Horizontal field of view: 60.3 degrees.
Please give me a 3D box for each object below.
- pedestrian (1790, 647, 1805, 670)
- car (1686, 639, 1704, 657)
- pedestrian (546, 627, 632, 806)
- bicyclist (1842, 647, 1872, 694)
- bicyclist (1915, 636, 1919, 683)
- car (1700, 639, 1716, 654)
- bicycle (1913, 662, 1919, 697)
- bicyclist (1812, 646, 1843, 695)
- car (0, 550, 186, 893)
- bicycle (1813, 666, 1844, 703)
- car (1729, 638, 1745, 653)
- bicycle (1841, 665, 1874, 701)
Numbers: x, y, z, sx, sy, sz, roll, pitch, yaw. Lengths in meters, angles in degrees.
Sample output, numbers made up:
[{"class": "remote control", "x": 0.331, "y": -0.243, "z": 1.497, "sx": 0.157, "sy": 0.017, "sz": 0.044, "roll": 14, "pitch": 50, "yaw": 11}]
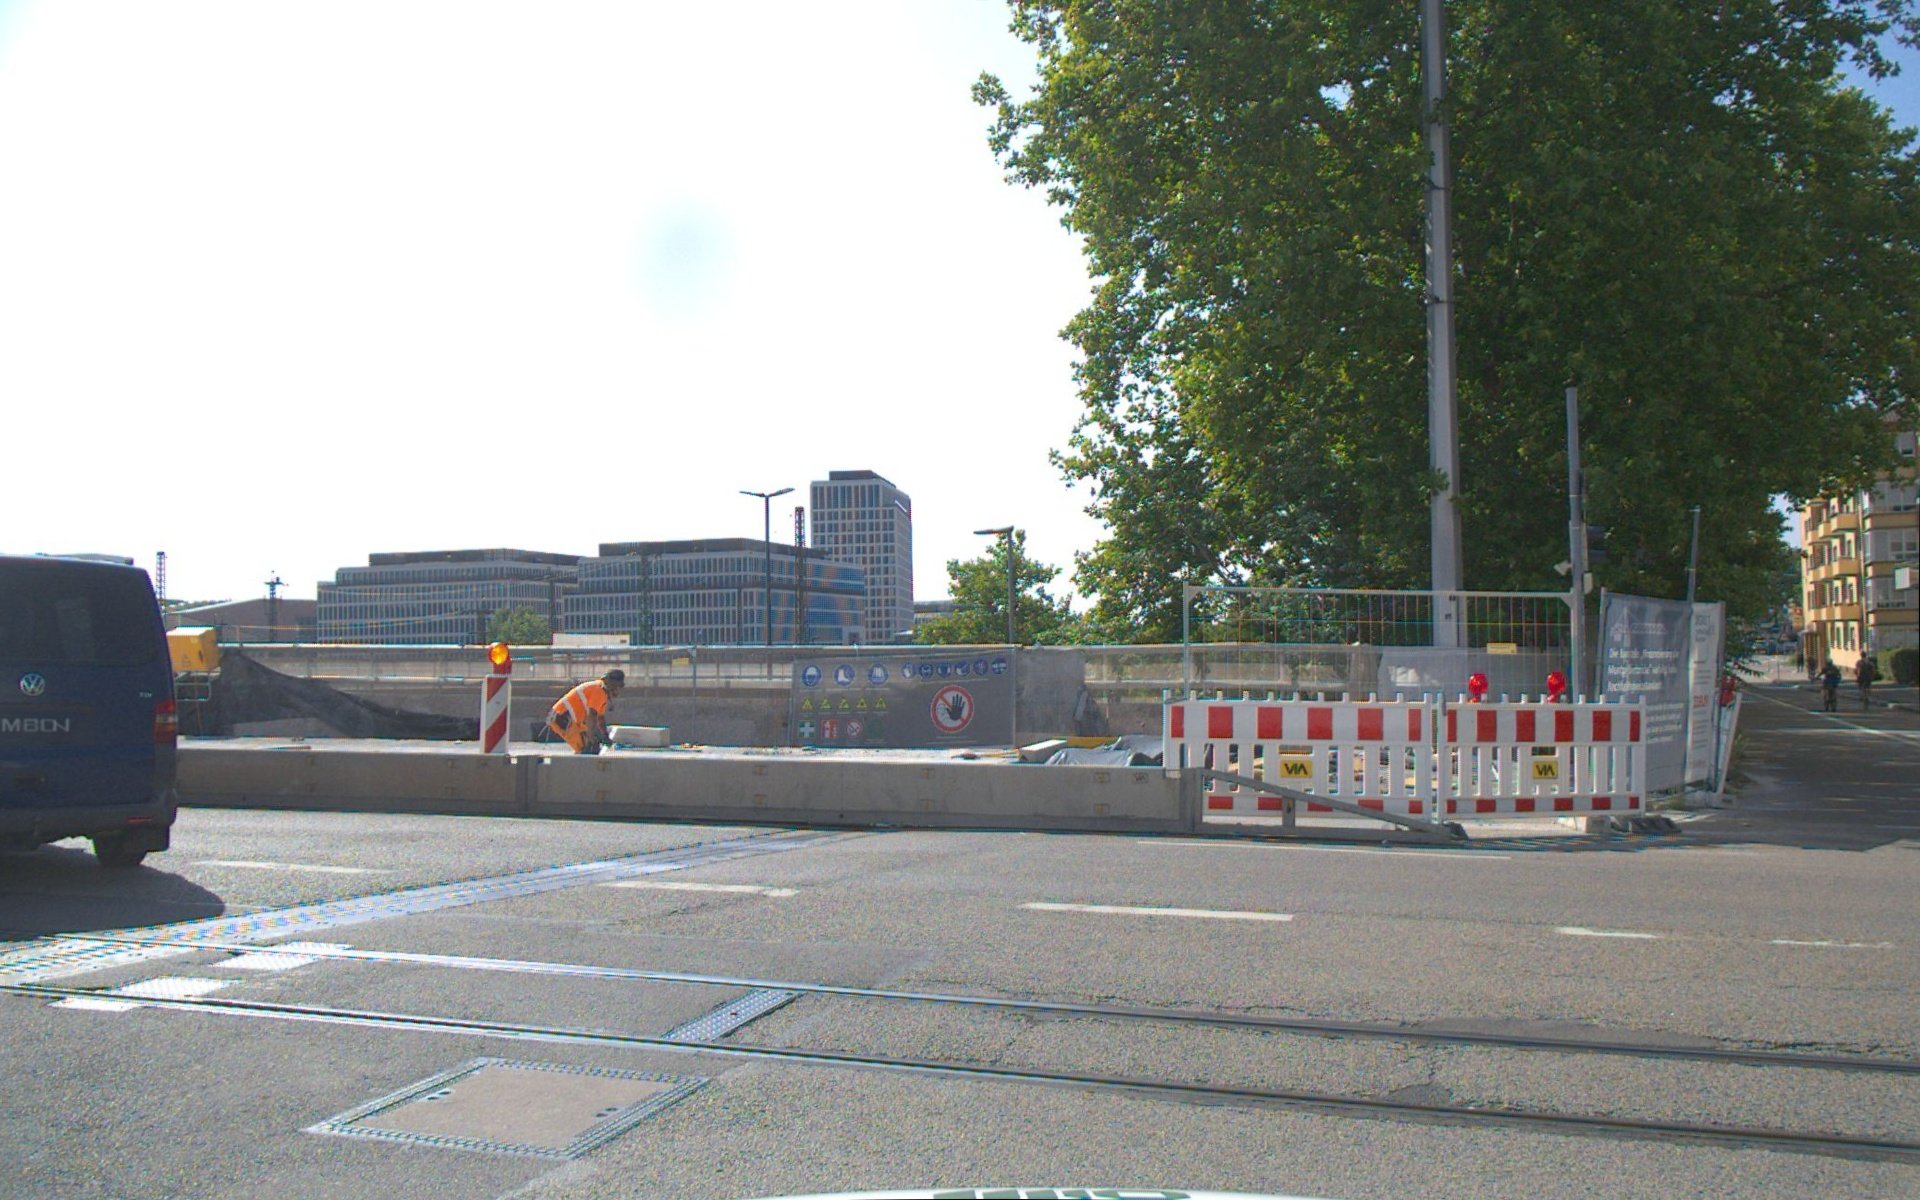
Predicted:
[{"class": "pedestrian", "x": 69.693, "y": 4.872, "z": 137.633, "sx": 1.002, "sy": 1.970, "sz": 0.838, "roll": -1, "pitch": -2, "yaw": 32}, {"class": "car", "x": 74.020, "y": 4.822, "z": 166.561, "sx": 1.593, "sy": 1.651, "sz": 3.694, "roll": -1, "pitch": 0, "yaw": 23}, {"class": "pedestrian", "x": -3.961, "y": 1.216, "z": 17.673, "sx": 0.846, "sy": 1.826, "sz": 0.819, "roll": -1, "pitch": 0, "yaw": -13}, {"class": "bicyclist", "x": 29.871, "y": 2.333, "z": 55.081, "sx": 0.821, "sy": 1.564, "sz": 1.022, "roll": -1, "pitch": -2, "yaw": 26}, {"class": "bicyclist", "x": 32.551, "y": 1.988, "z": 55.469, "sx": 0.821, "sy": 1.564, "sz": 1.022, "roll": -1, "pitch": -2, "yaw": 26}, {"class": "car", "x": 90.586, "y": 5.646, "z": 200.305, "sx": 1.593, "sy": 1.651, "sz": 3.694, "roll": -1, "pitch": 0, "yaw": 23}, {"class": "bicycle", "x": 32.621, "y": 2.656, "z": 55.586, "sx": 0.821, "sy": 1.157, "sz": 2.855, "roll": -1, "pitch": -2, "yaw": 26}, {"class": "bicyclist", "x": 28.119, "y": 2.285, "z": 53.624, "sx": 0.821, "sy": 1.564, "sz": 1.022, "roll": -1, "pitch": -2, "yaw": 26}, {"class": "car", "x": -6.739, "y": 0.706, "z": 10.888, "sx": 1.807, "sy": 1.939, "sz": 3.989, "roll": 0, "pitch": 0, "yaw": -44}, {"class": "bicycle", "x": 28.088, "y": 2.719, "z": 53.524, "sx": 0.821, "sy": 1.157, "sz": 2.855, "roll": -1, "pitch": -2, "yaw": 26}, {"class": "car", "x": 93.607, "y": 5.506, "z": 199.325, "sx": 1.593, "sy": 1.651, "sz": 3.694, "roll": -1, "pitch": 0, "yaw": 23}, {"class": "bicycle", "x": 29.892, "y": 2.748, "z": 55.090, "sx": 0.821, "sy": 1.157, "sz": 2.855, "roll": -1, "pitch": -2, "yaw": 26}]
